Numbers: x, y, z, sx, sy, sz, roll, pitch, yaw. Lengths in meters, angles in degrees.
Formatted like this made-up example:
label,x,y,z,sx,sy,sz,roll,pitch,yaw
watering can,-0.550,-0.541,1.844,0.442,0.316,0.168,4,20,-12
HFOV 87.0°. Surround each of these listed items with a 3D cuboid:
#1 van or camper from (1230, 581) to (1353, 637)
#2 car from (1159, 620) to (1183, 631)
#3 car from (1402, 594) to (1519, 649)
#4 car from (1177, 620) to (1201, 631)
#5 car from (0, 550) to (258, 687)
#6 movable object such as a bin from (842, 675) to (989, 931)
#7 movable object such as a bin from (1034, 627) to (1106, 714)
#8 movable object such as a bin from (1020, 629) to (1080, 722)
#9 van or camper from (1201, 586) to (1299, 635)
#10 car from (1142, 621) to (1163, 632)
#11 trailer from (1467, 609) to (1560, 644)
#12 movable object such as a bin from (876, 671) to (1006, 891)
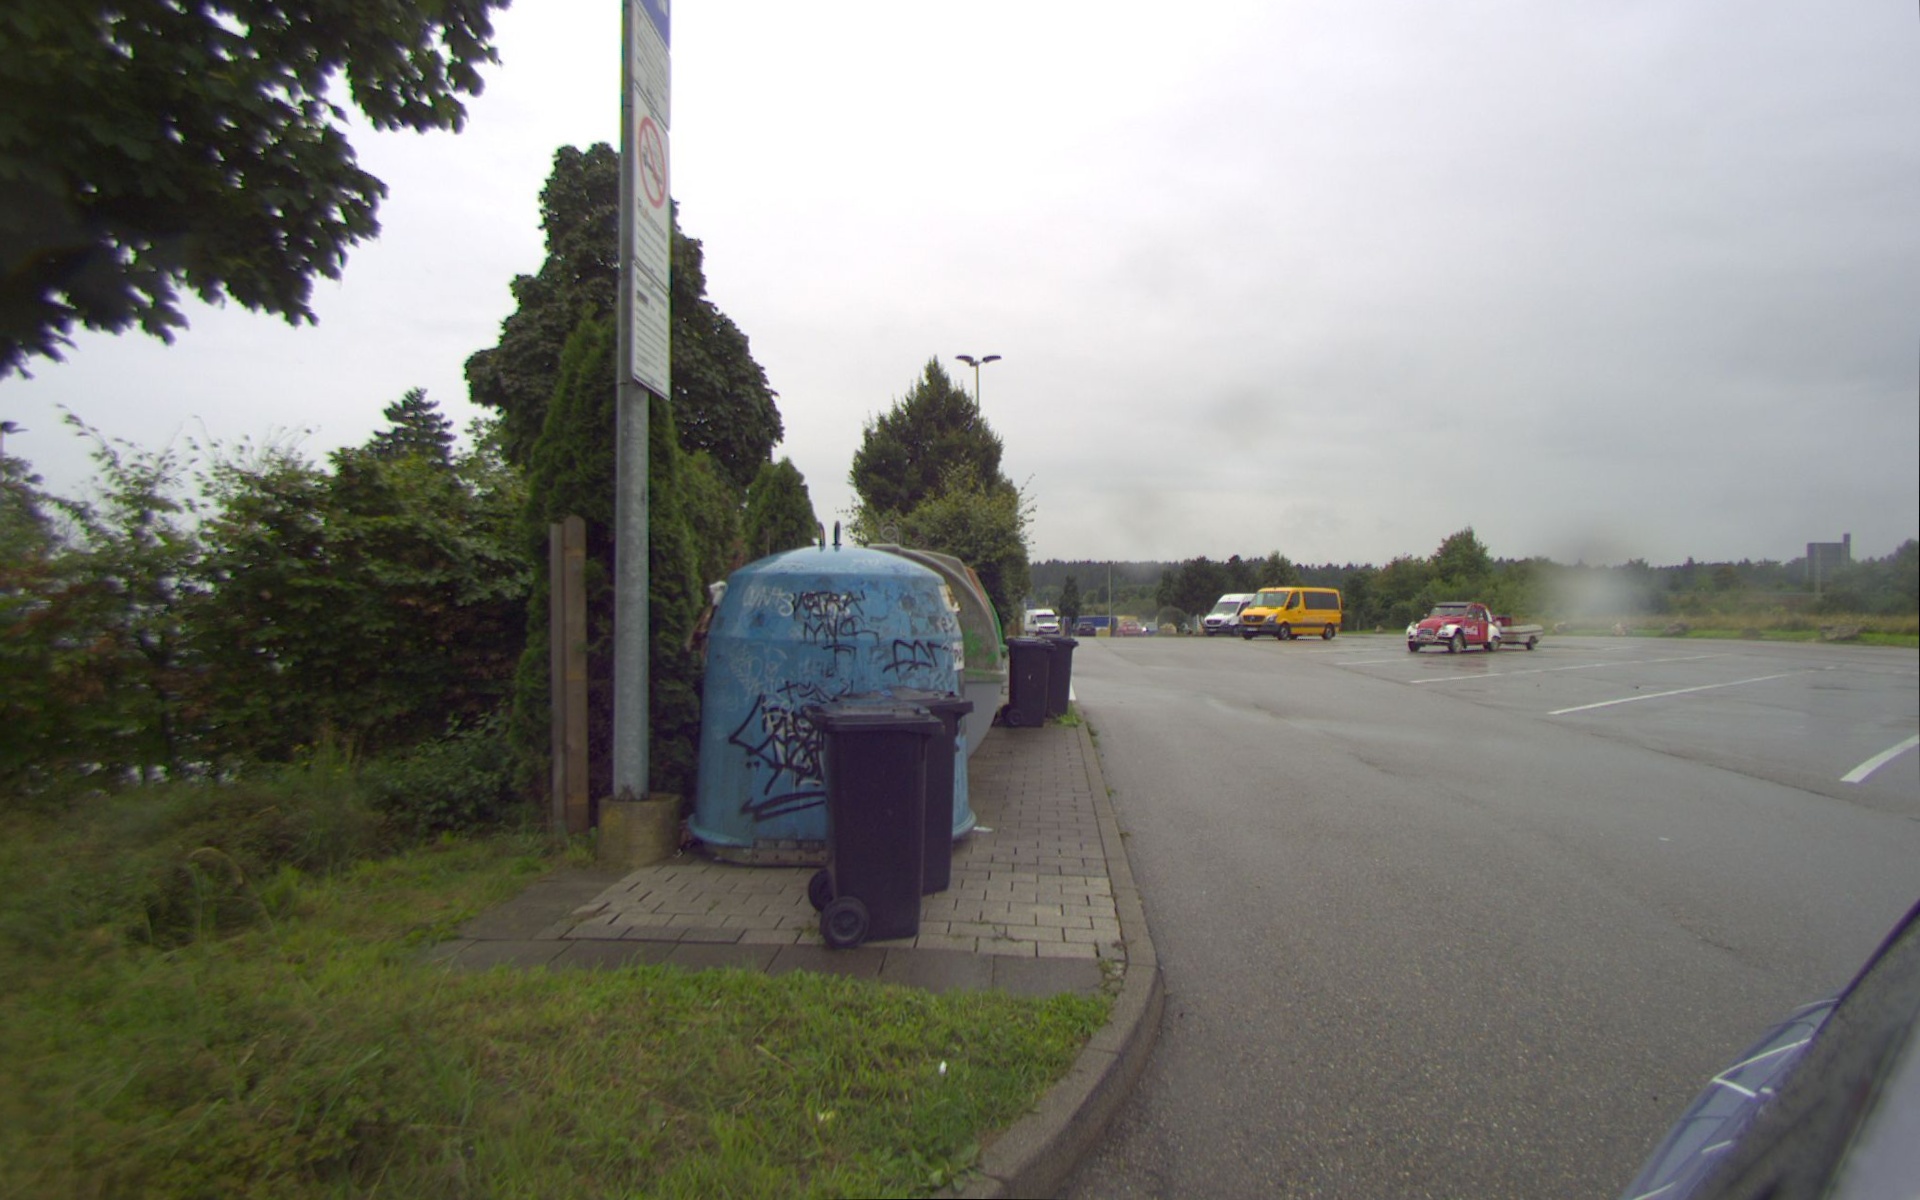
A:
label,x,y,z,sx,sy,sz,roll,pitch,yaw
van or camper,14.650,0.367,44.553,6.303,2.275,2.132,0,0,-40
car,21.468,2.575,102.983,1.677,1.013,3.767,0,0,0
car,15.207,0.624,30.707,3.980,1.575,1.549,0,0,-36
car,23.275,2.565,102.993,1.677,1.013,3.767,0,0,0
car,-15.120,0.295,17.561,4.685,2.216,1.997,0,0,6
movable object such as a bin,-0.179,0.816,4.280,0.445,0.950,0.484,0,0,27
movable object such as a bin,1.250,0.788,11.526,0.627,0.932,0.549,0,0,38
movable object such as a bin,0.953,0.785,10.724,0.492,0.932,0.410,0,0,38
van or camper,17.416,0.606,60.565,6.942,2.749,1.998,0,1,-40
car,19.336,2.629,101.660,1.472,1.013,3.569,0,0,0
trailer,18.026,0.841,32.940,2.973,1.081,1.588,1,-1,-37
movable object such as a bin,-0.083,0.827,4.826,0.445,0.929,0.484,0,0,27
